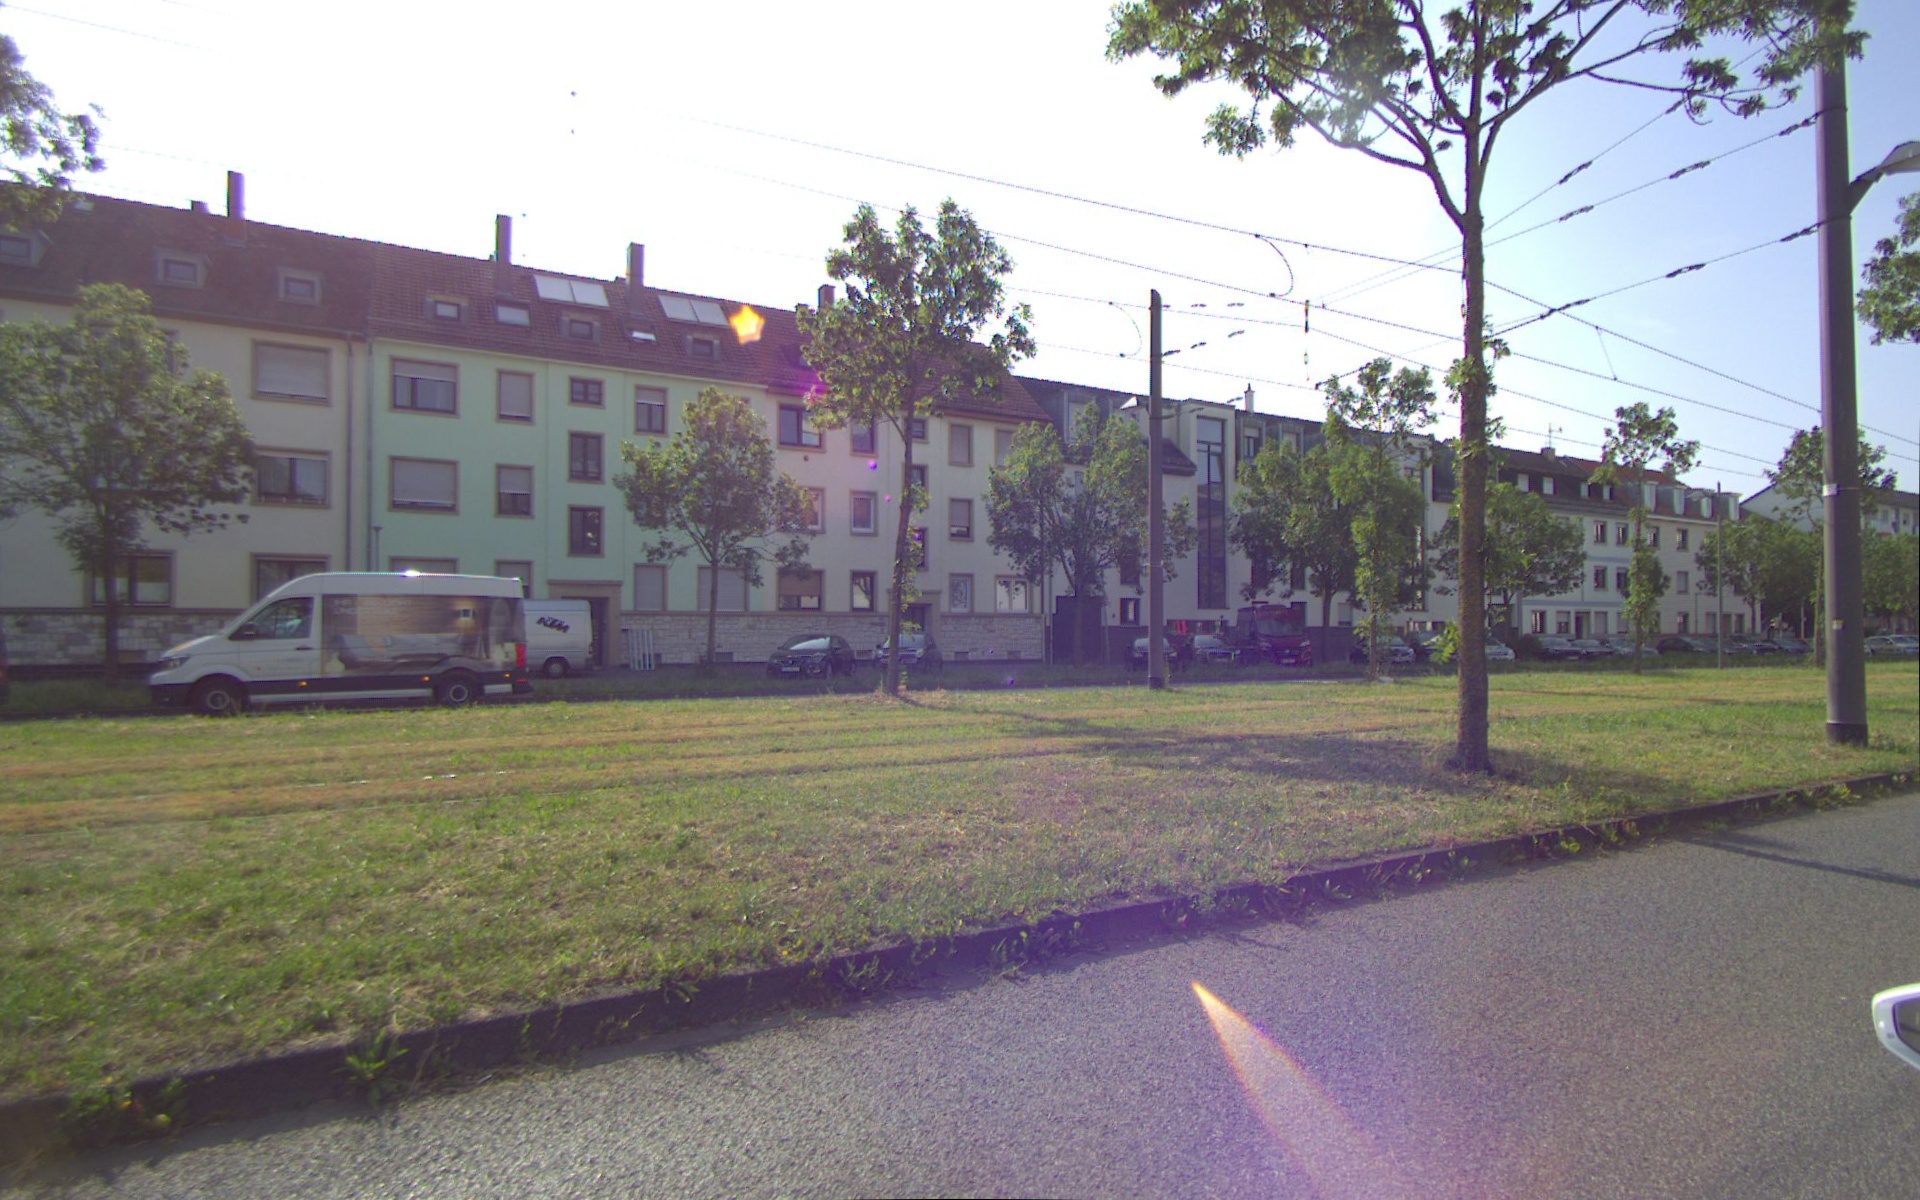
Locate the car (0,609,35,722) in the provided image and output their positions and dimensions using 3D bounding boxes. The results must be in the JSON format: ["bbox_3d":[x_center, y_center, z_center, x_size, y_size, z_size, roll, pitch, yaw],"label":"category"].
[{"bbox_3d":[-17.091,1.012,15.230,4.110,1.760,1.808,1,-3,-29],"label":"car"}]

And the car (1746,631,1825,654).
[{"bbox_3d":[50.150,2.573,61.137,1.665,1.251,4.002,1,0,4],"label":"car"}]

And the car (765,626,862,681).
[{"bbox_3d":[-4.114,1.471,28.785,1.737,1.360,3.780,1,0,8],"label":"car"}]

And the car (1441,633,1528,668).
[{"bbox_3d":[23.180,2.221,44.577,1.699,1.338,4.401,1,0,3],"label":"car"}]

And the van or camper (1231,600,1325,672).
[{"bbox_3d":[12.215,1.359,39.082,2.365,2.580,6.166,0,-1,6],"label":"van or camper"}]

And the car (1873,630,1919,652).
[{"bbox_3d":[67.409,2.903,71.014,1.924,1.483,4.355,1,0,3],"label":"car"}]

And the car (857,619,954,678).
[{"bbox_3d":[-1.538,1.377,30.011,1.959,1.550,4.353,1,0,9],"label":"car"}]

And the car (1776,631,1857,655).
[{"bbox_3d":[53.600,2.674,62.956,1.838,1.275,4.001,1,0,3],"label":"car"}]

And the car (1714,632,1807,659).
[{"bbox_3d":[45.570,2.562,57.290,1.961,1.305,4.058,1,0,-2],"label":"car"}]

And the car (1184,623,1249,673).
[{"bbox_3d":[9.541,1.757,37.629,1.831,1.637,4.156,3,0,9],"label":"car"}]

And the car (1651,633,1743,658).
[{"bbox_3d":[40.339,2.491,55.110,1.962,1.305,3.998,0,-2,-4],"label":"car"}]

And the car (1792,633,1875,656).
[{"bbox_3d":[56.009,2.828,64.532,1.849,1.286,4.000,1,0,0],"label":"car"}]

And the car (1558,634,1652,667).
[{"bbox_3d":[31.419,2.434,49.052,1.890,1.394,3.999,1,0,-3],"label":"car"}]

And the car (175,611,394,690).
[{"bbox_3d":[-14.957,1.049,22.550,1.776,1.550,4.101,1,0,8],"label":"car"}]

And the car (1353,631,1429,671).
[{"bbox_3d":[17.874,2.095,41.871,1.746,1.439,4.002,1,0,5],"label":"car"}]

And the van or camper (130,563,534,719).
[{"bbox_3d":[-11.266,0.782,18.620,5.989,2.506,2.131,1,-4,-31],"label":"van or camper"}]

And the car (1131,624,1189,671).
[{"bbox_3d":[7.342,1.706,37.228,1.831,1.529,4.156,3,0,9],"label":"car"}]

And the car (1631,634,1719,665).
[{"bbox_3d":[36.811,2.534,51.822,1.632,1.394,3.779,1,0,-4],"label":"car"}]

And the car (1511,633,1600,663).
[{"bbox_3d":[28.814,2.308,48.756,1.800,1.394,3.999,0,-2,-3],"label":"car"}]

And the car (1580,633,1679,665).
[{"bbox_3d":[34.264,2.476,51.565,1.962,1.394,4.338,1,0,-4],"label":"car"}]

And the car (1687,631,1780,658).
[{"bbox_3d":[43.176,2.462,56.178,1.962,1.305,3.998,1,0,-4],"label":"car"}]

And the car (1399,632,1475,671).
[{"bbox_3d":[20.365,2.168,43.041,1.609,1.453,3.723,1,0,3],"label":"car"}]

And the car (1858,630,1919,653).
[{"bbox_3d":[64.451,2.808,68.945,1.959,1.534,4.468,0,-2,7],"label":"car"}]

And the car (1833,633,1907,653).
[{"bbox_3d":[61.837,2.904,68.345,1.959,1.194,4.003,1,0,11],"label":"car"}]

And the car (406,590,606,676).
[{"bbox_3d":[-14.166,1.019,31.473,5.510,2.496,1.985,1,0,-29],"label":"car"}]
